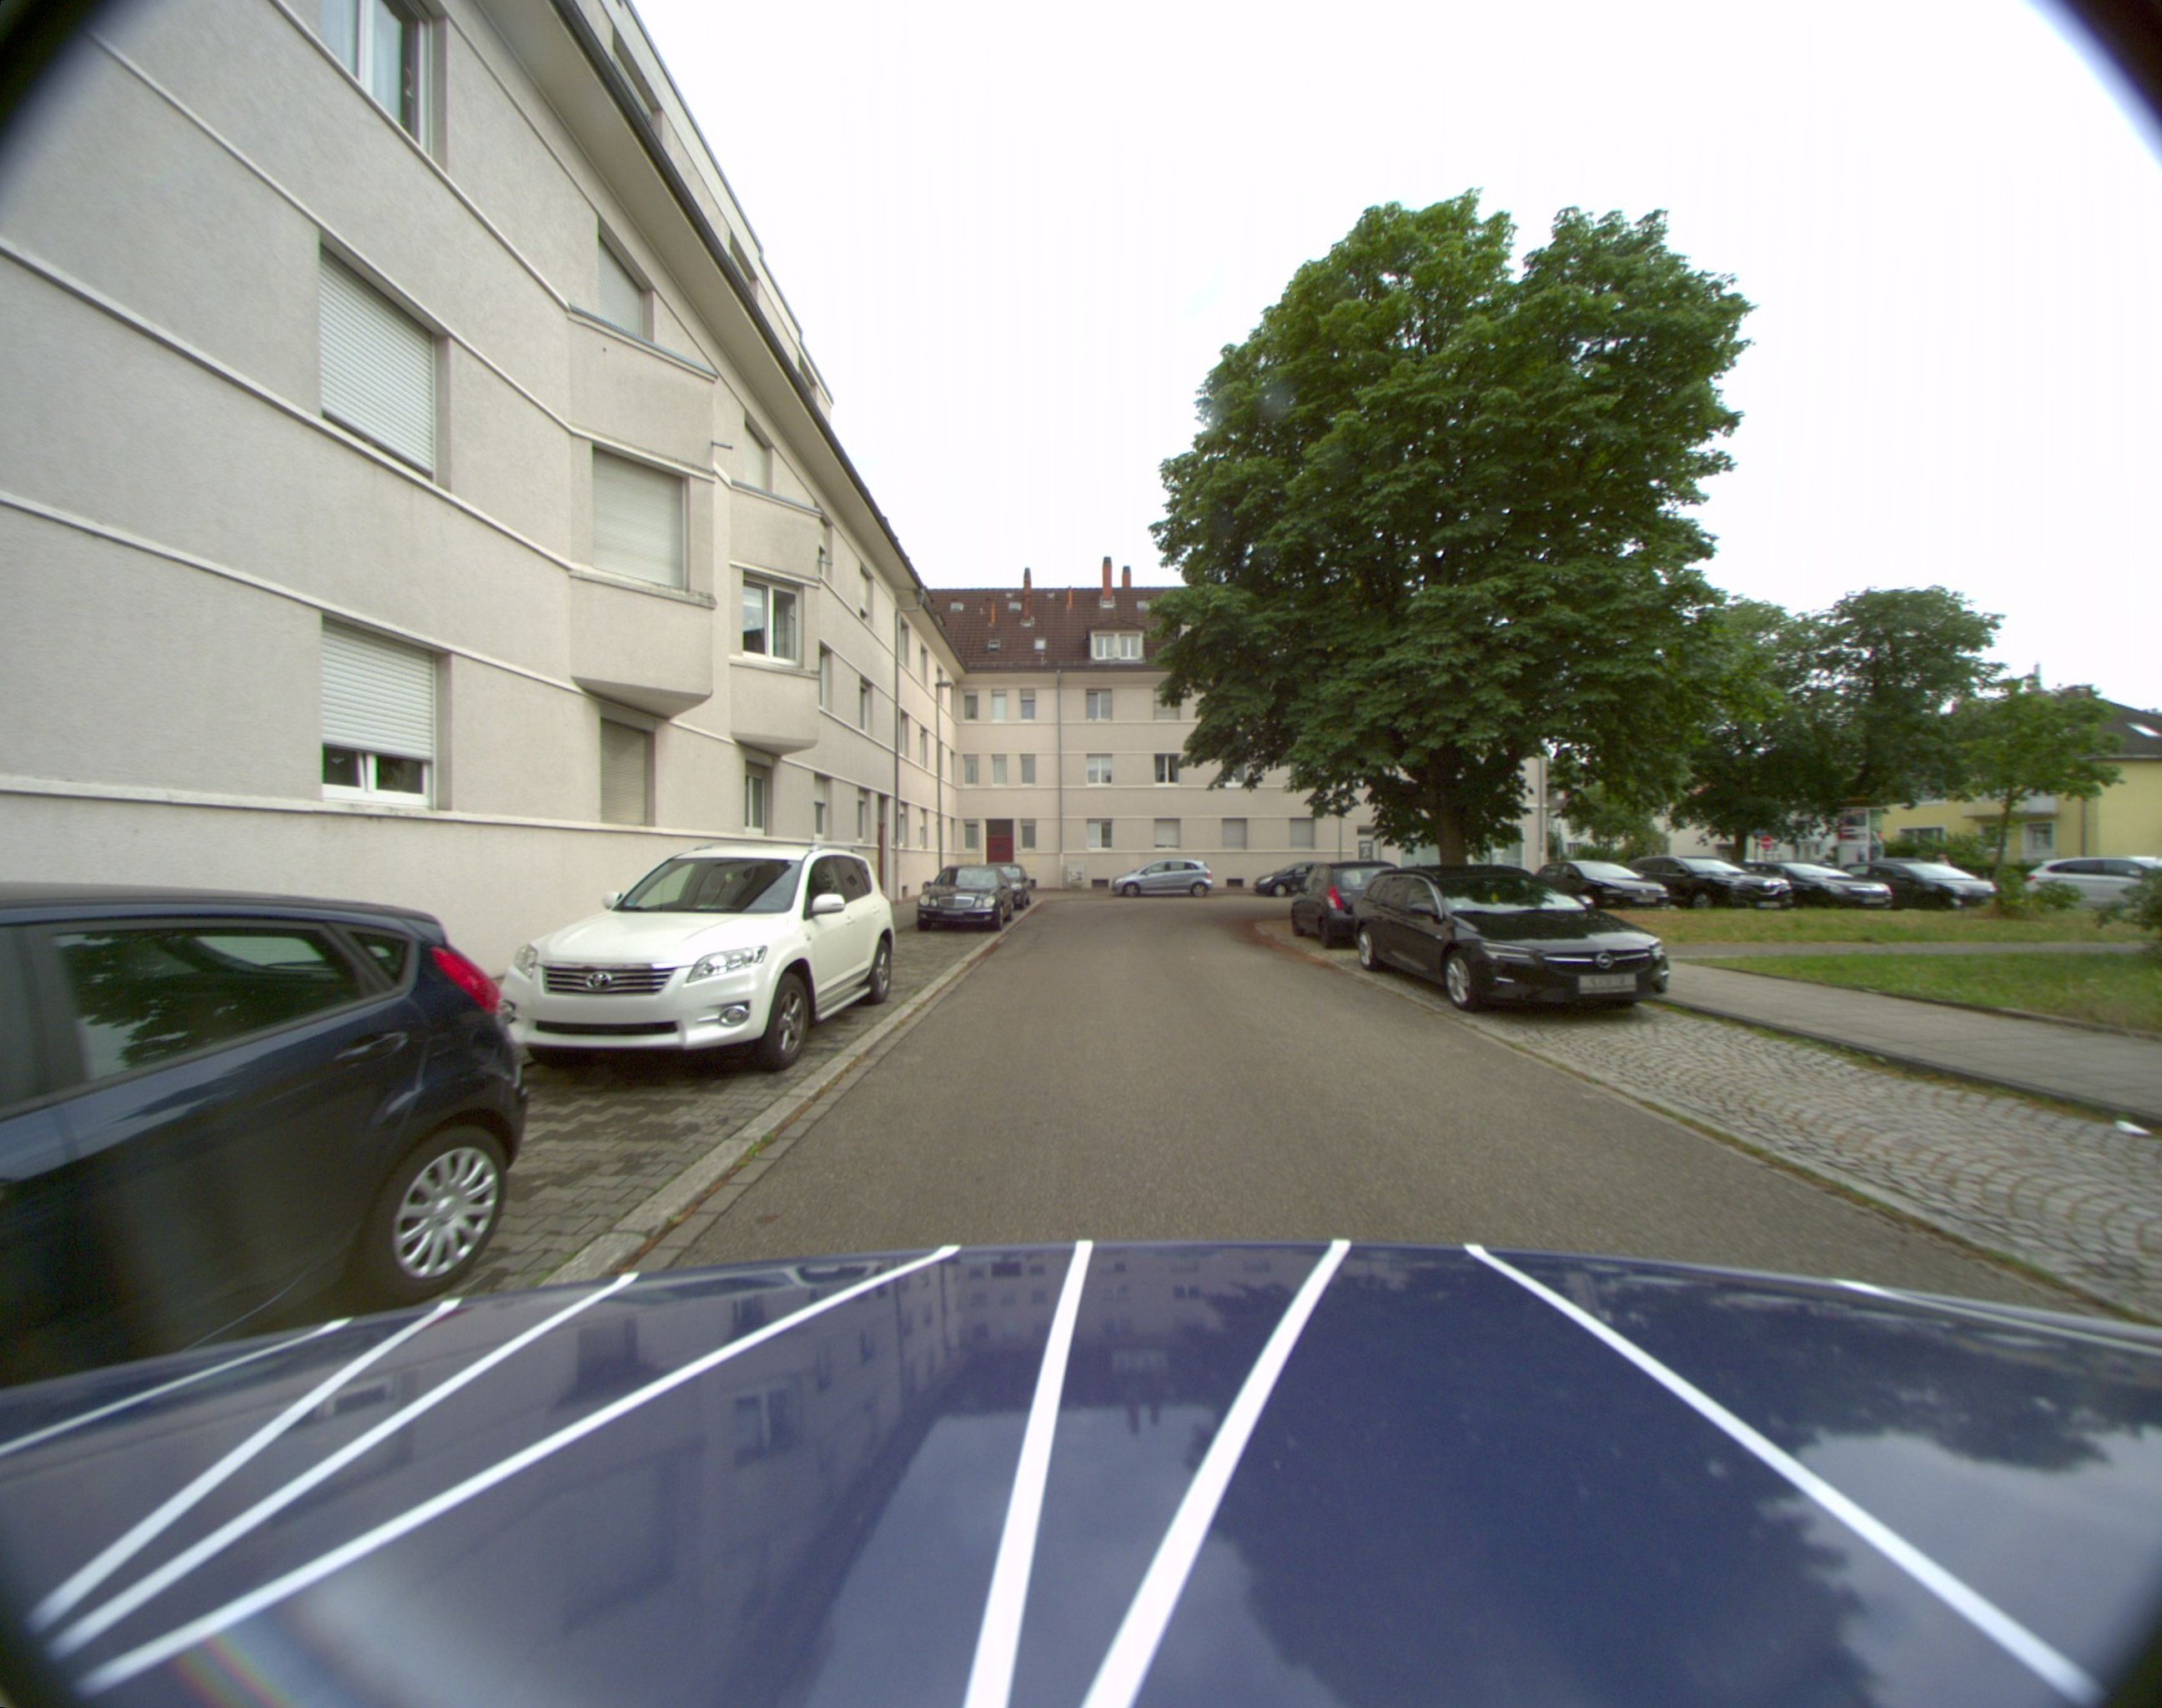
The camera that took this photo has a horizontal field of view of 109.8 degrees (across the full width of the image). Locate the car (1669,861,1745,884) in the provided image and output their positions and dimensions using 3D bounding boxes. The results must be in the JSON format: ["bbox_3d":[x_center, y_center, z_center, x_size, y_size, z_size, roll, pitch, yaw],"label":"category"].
[{"bbox_3d":[45.008,1.276,54.735,1.705,1.557,4.208,-2,0,-6],"label":"car"}]

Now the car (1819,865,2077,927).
[{"bbox_3d":[22.710,1.060,20.250,1.839,1.454,4.563,-1,-2,5],"label":"car"}]

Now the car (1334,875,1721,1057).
[{"bbox_3d":[4.757,1.061,9.152,1.872,1.456,4.835,-3,-1,2],"label":"car"}]

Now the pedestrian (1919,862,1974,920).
[{"bbox_3d":[28.123,1.168,24.695,1.221,1.825,0.877,0,0,-25],"label":"pedestrian"}]

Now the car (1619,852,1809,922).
[{"bbox_3d":[16.793,0.865,20.477,1.914,1.687,4.071,-1,-1,4],"label":"car"}]

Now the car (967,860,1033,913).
[{"bbox_3d":[-2.565,0.990,24.926,1.761,1.516,4.078,1,0,0],"label":"car"}]

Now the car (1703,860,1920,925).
[{"bbox_3d":[19.340,0.992,20.448,1.839,1.556,4.360,-1,-1,5],"label":"car"}]

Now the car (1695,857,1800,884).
[{"bbox_3d":[40.592,1.001,46.432,1.902,1.557,4.882,0,-1,-4],"label":"car"}]

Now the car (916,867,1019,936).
[{"bbox_3d":[-2.556,1.030,18.213,1.749,1.412,4.950,1,-1,0],"label":"car"}]

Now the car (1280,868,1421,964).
[{"bbox_3d":[4.929,1.065,14.366,1.528,1.484,3.593,-3,-1,4],"label":"car"}]

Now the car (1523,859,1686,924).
[{"bbox_3d":[13.676,0.915,20.163,1.829,1.568,3.843,0,0,3],"label":"car"}]

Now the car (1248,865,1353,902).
[{"bbox_3d":[9.190,1.232,32.046,3.933,1.481,1.763,-1,0,1],"label":"car"}]

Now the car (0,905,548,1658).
[{"bbox_3d":[-3.039,0.927,1.204,1.571,1.469,3.871,0,-1,2],"label":"car"}]

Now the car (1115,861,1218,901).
[{"bbox_3d":[3.557,1.126,32.037,4.195,1.618,1.763,-1,0,3],"label":"car"}]

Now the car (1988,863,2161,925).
[{"bbox_3d":[27.838,1.071,20.420,1.883,1.550,4.152,-2,-4,1],"label":"car"}]

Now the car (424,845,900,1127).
[{"bbox_3d":[-3.014,0.822,6.693,1.847,1.664,4.289,1,-1,-1],"label":"car"}]
